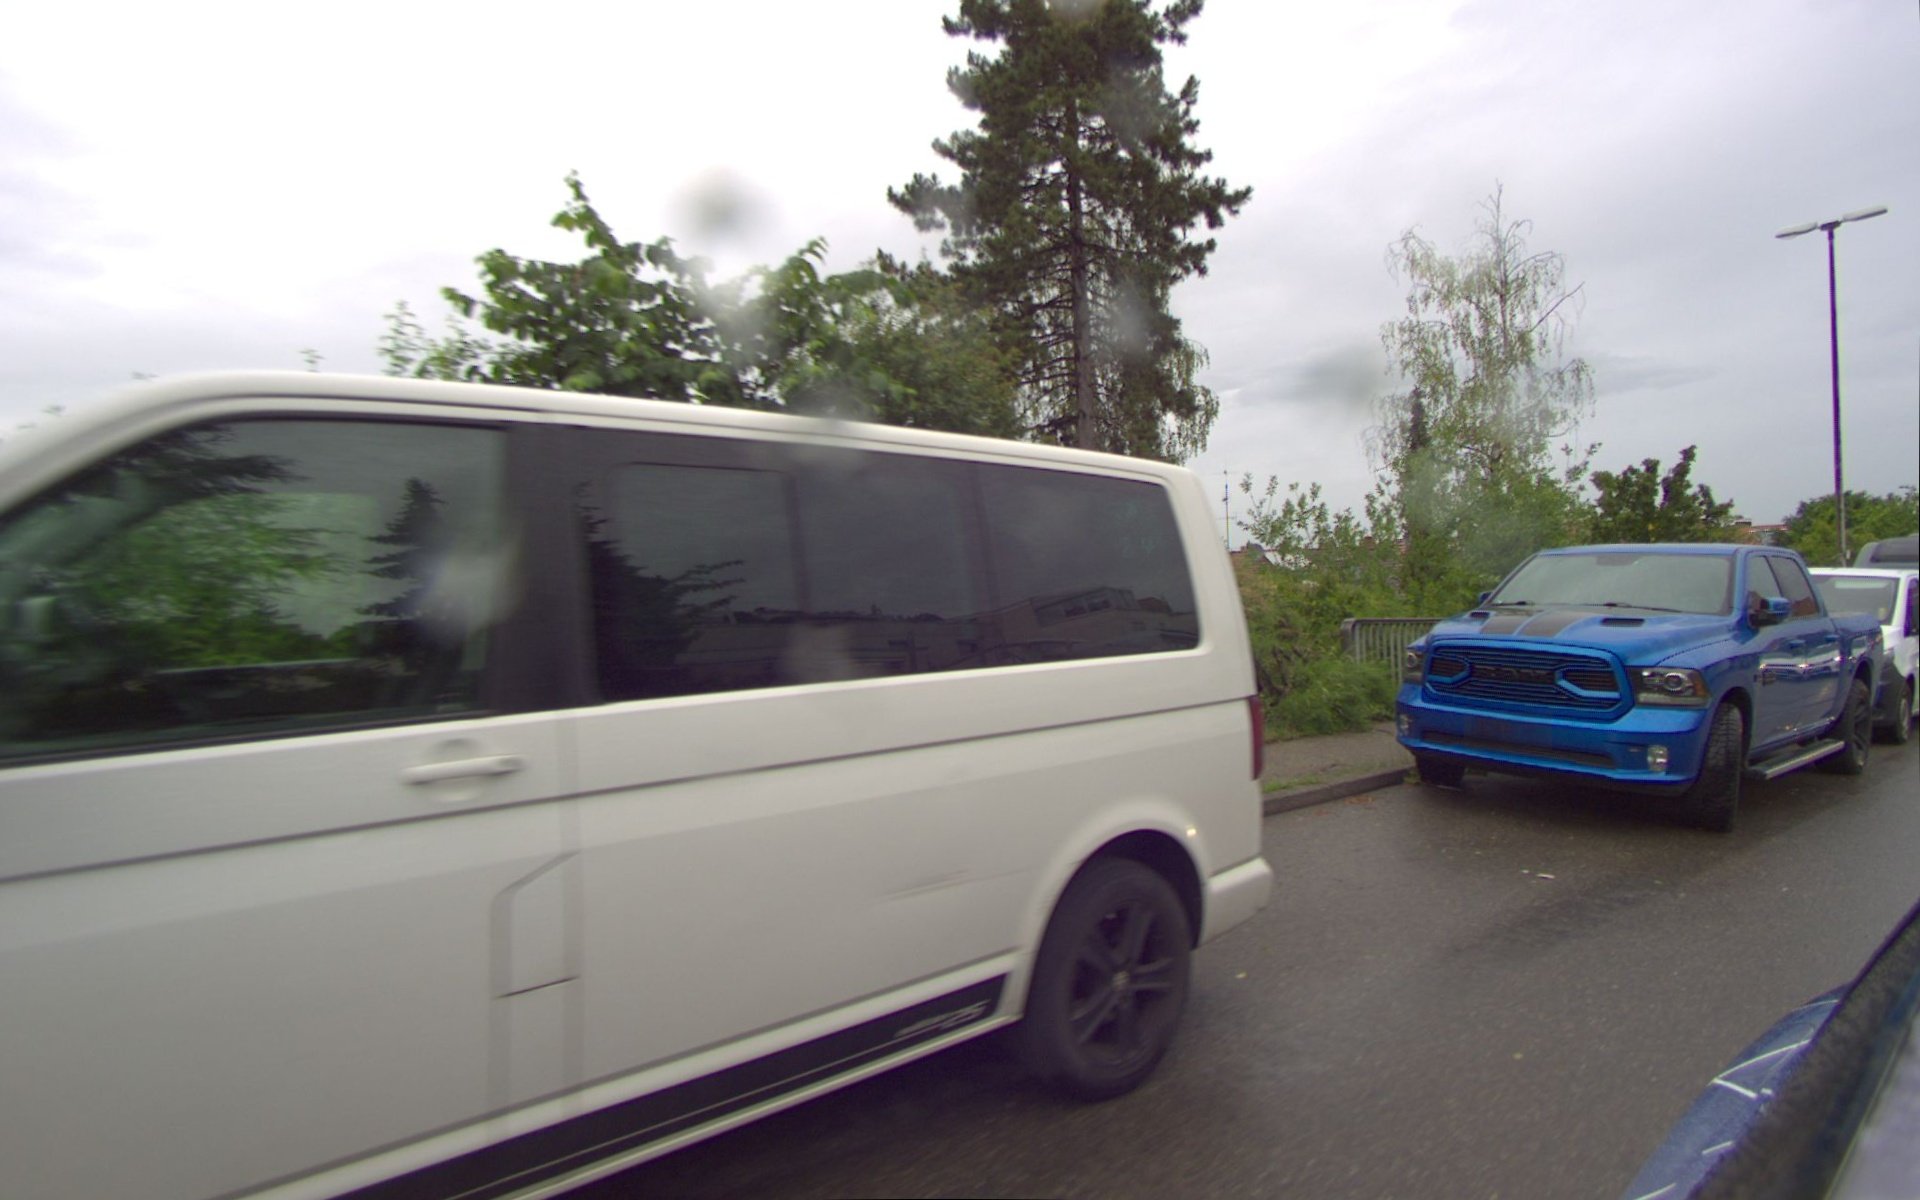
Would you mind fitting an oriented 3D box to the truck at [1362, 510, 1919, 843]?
[{"bbox_3d":[6.139,0.460,8.593,6.498,1.876,2.118,0,-2,-39],"label":"truck"}]

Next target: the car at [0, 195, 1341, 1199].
[{"bbox_3d":[-1.184,0.412,2.738,4.987,1.946,1.864,0,-1,-39],"label":"car"}]

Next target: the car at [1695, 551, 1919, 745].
[{"bbox_3d":[10.720,0.438,12.054,5.173,1.865,1.832,0,1,-38],"label":"car"}]

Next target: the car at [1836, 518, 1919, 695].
[{"bbox_3d":[16.115,0.100,16.165,5.845,2.537,2.037,0,1,-37],"label":"car"}]
